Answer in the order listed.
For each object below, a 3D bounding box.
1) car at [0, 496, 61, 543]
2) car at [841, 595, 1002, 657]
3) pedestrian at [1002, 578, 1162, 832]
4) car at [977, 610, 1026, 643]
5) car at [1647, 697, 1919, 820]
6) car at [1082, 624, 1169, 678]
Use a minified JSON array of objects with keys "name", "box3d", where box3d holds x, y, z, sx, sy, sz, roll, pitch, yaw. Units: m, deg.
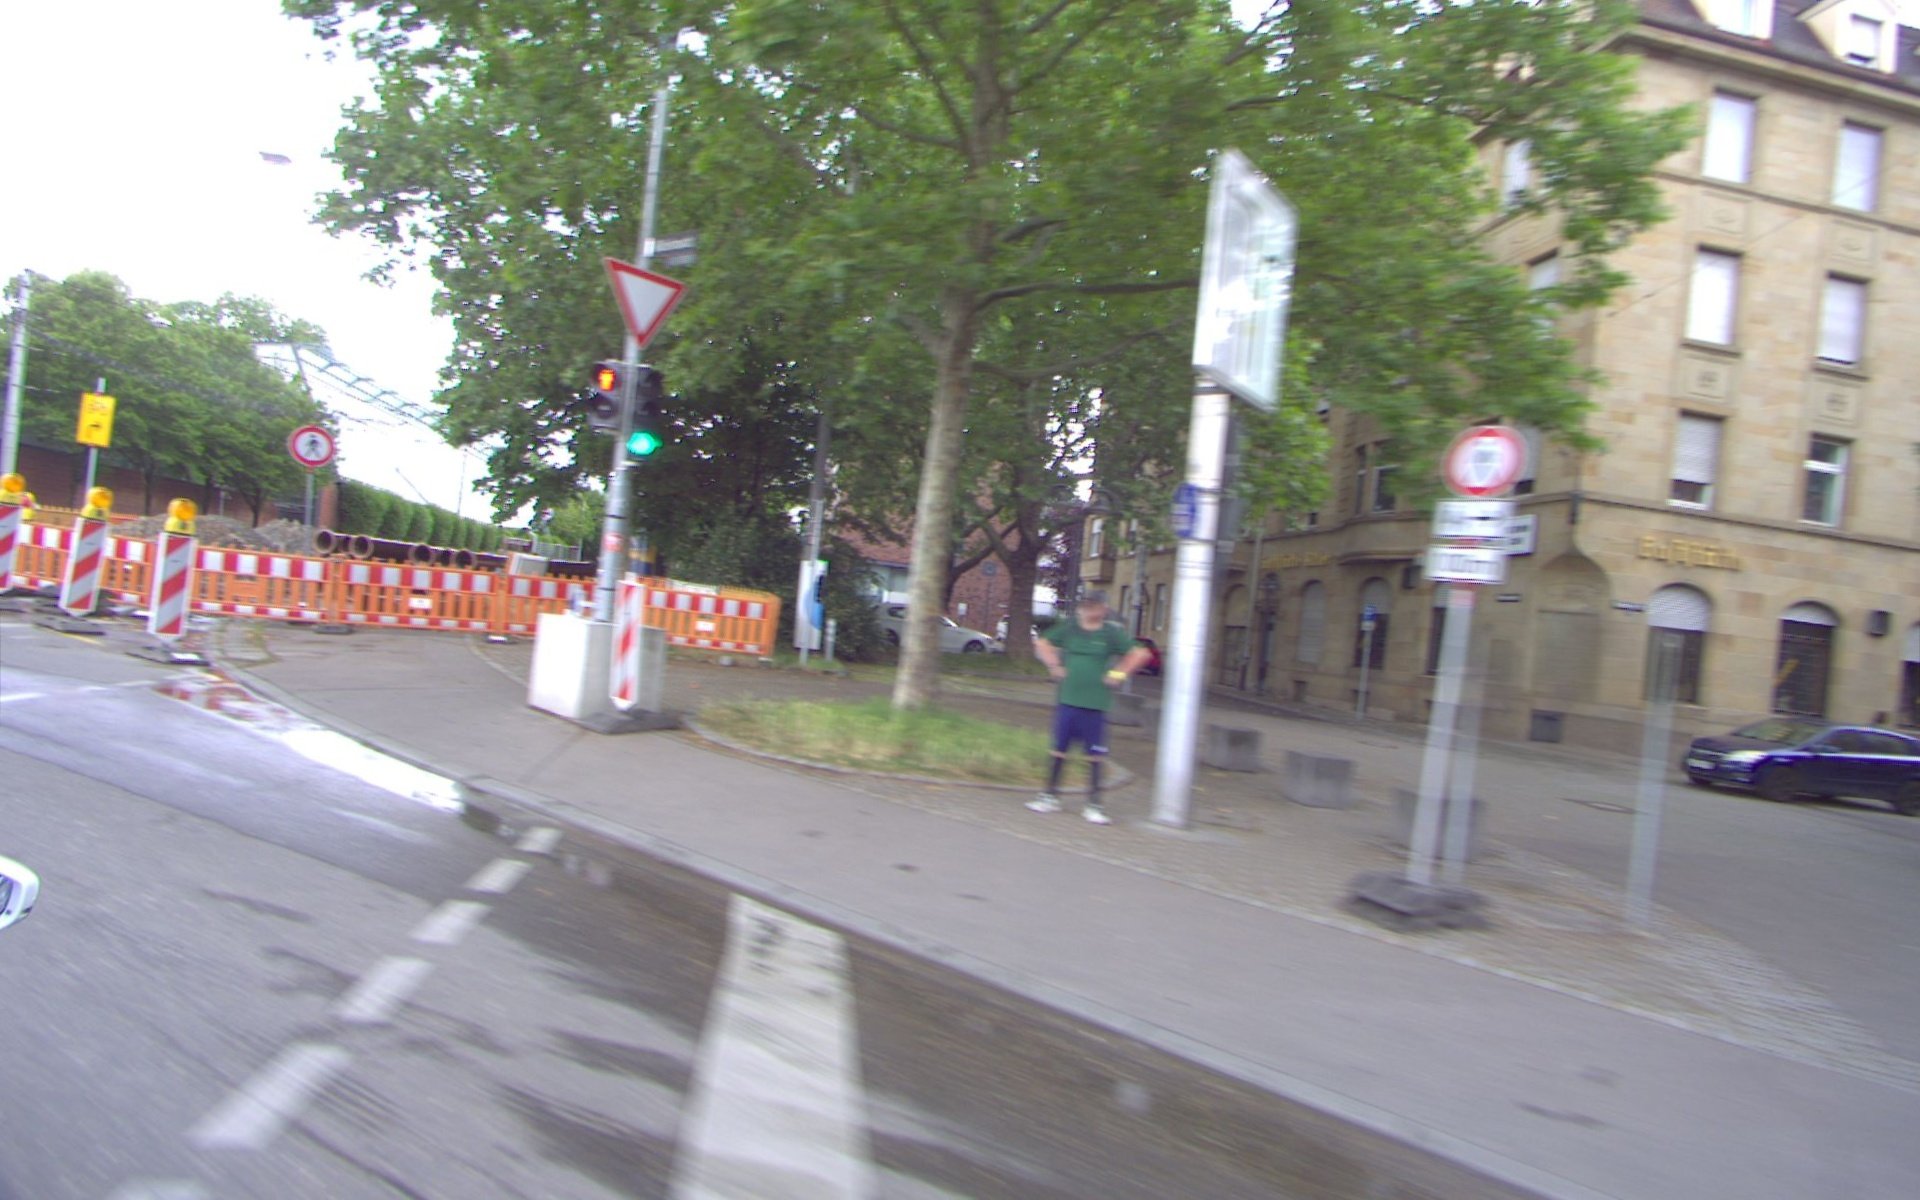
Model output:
[{"name":"car","box3d":[-34.602,-2.986,35.516,1.770,1.460,4.459,5,-1,-2]},{"name":"car","box3d":[-1.173,0.762,29.907,4.434,1.342,1.715,6,0,-13]},{"name":"pedestrian","box3d":[0.932,0.757,7.600,0.823,1.719,0.732,8,2,26]},{"name":"car","box3d":[2.214,1.410,54.806,1.691,1.525,4.103,6,0,-10]},{"name":"car","box3d":[14.829,2.798,17.861,4.017,1.483,1.729,7,1,-4]},{"name":"car","box3d":[6.558,1.986,40.306,1.966,1.732,4.400,6,0,-10]}]
